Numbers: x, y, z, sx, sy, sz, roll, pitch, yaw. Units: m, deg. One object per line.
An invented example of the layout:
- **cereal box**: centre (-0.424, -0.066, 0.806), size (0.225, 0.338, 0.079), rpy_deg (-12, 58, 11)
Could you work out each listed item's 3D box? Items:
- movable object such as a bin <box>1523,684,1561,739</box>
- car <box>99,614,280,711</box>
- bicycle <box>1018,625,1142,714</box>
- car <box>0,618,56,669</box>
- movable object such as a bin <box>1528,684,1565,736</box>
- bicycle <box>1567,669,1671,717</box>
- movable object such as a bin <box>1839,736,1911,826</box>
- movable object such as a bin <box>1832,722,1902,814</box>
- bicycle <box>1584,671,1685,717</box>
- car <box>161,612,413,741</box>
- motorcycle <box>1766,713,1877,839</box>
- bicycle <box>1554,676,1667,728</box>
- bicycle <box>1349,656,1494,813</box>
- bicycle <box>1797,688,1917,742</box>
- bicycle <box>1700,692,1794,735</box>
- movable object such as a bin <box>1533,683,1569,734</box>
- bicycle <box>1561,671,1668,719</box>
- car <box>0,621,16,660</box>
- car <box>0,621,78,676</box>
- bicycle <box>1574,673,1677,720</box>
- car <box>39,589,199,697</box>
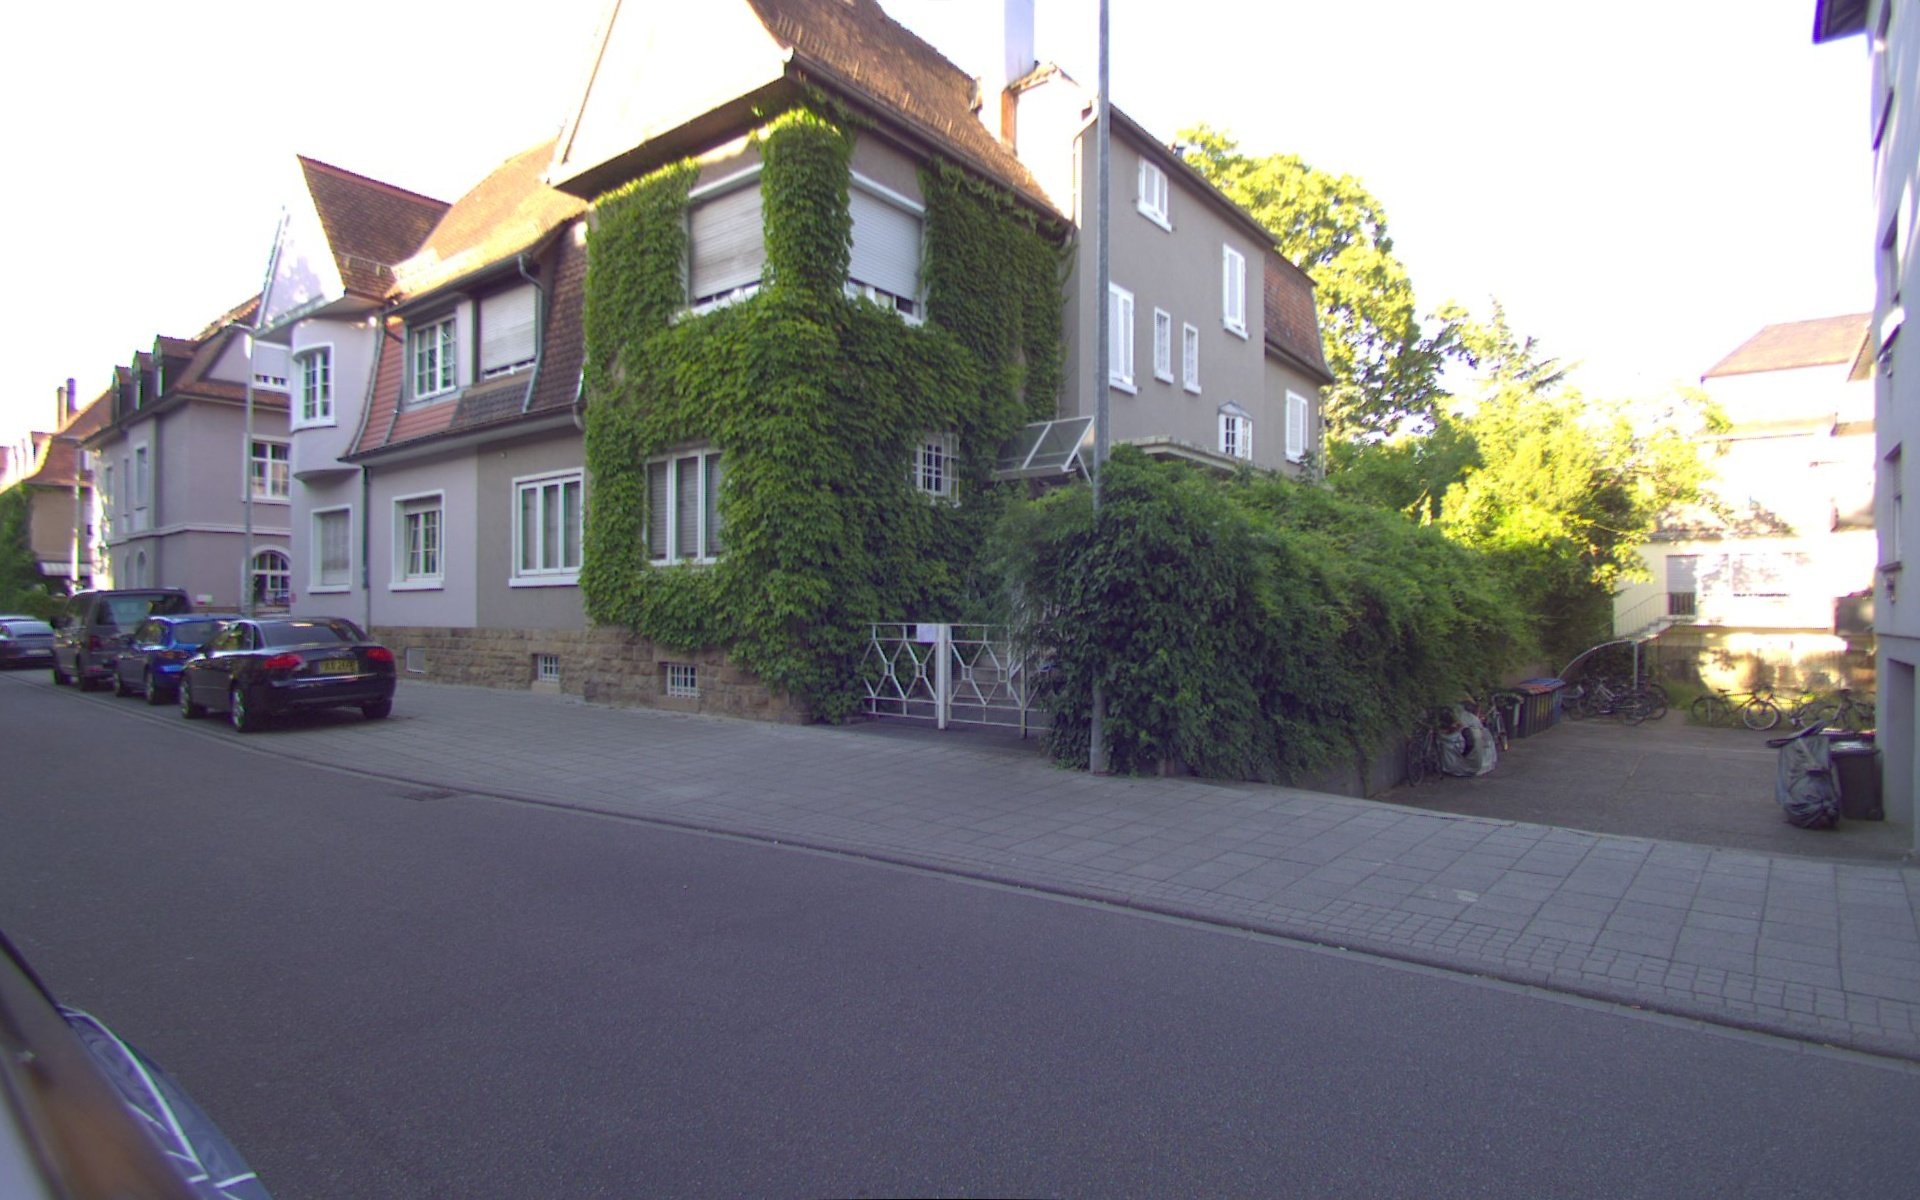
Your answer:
- **movable object such as a bin**: centre (12.693, 2.419, 22.071), size (0.611, 1.123, 0.792), rpy_deg (-1, -4, 37)
- **car**: centre (-13.646, 1.013, 17.846), size (4.060, 1.457, 1.745), rpy_deg (-1, 0, 41)
- **bicycle**: centre (1.711, 0.929, 14.166), size (0.476, 1.111, 2.172), rpy_deg (-1, -1, 45)
- **car**: centre (-30.182, 1.351, 32.032), size (4.061, 1.478, 1.907), rpy_deg (-1, 1, 42)
- **movable object such as a bin**: centre (13.169, 2.456, 22.713), size (0.611, 1.123, 0.792), rpy_deg (-1, -4, 37)
- **bicycle**: centre (18.049, 2.539, 27.764), size (2.338, 1.186, 0.685), rpy_deg (-1, -4, 42)
- **movable object such as a bin**: centre (11.706, 2.295, 12.963), size (0.611, 1.045, 0.532), rpy_deg (-1, -4, 37)
- **movable object such as a bin**: centre (12.289, 2.255, 13.727), size (0.611, 1.123, 0.792), rpy_deg (-1, -4, 37)
- **bicycle**: centre (19.191, 2.653, 28.825), size (2.338, 1.186, 0.685), rpy_deg (-1, -4, 42)
- **car**: centre (-9.417, 0.936, 14.022), size (4.426, 1.457, 1.783), rpy_deg (-1, 0, 41)
- **motorcycle**: centre (10.697, 2.139, 12.622), size (0.742, 1.305, 1.565), rpy_deg (-1, -2, 30)
- **bicycle**: centre (16.233, 2.518, 25.301), size (2.294, 1.142, 0.685), rpy_deg (-1, -4, 42)
- **bicycle**: centre (6.814, 1.811, 14.751), size (0.971, 1.907, 4.138), rpy_deg (-1, -3, 38)
- **bicycle**: centre (20.361, 2.582, 23.022), size (2.005, 1.080, 0.558), rpy_deg (-1, -4, 42)
- **bicycle**: centre (18.884, 2.710, 24.296), size (1.754, 0.886, 0.558), rpy_deg (-1, -4, 42)
- **movable object such as a bin**: centre (13.639, 2.490, 23.344), size (0.611, 1.123, 0.792), rpy_deg (-1, -4, 37)
- **bicycle**: centre (17.497, 2.529, 27.111), size (2.338, 1.142, 0.685), rpy_deg (-1, -4, 42)
- **car**: centre (-36.333, 1.503, 37.509), size (3.676, 1.372, 1.641), rpy_deg (-1, 0, 42)
- **car**: centre (-26.168, 1.314, 28.298), size (4.063, 1.394, 1.906), rpy_deg (-1, 1, 44)
- **bicycle**: centre (18.605, 2.672, 28.328), size (2.338, 1.186, 0.685), rpy_deg (-1, -4, 42)
- **car**: centre (-17.534, 0.824, 21.016), size (4.610, 1.990, 1.819), rpy_deg (-1, 0, 41)
